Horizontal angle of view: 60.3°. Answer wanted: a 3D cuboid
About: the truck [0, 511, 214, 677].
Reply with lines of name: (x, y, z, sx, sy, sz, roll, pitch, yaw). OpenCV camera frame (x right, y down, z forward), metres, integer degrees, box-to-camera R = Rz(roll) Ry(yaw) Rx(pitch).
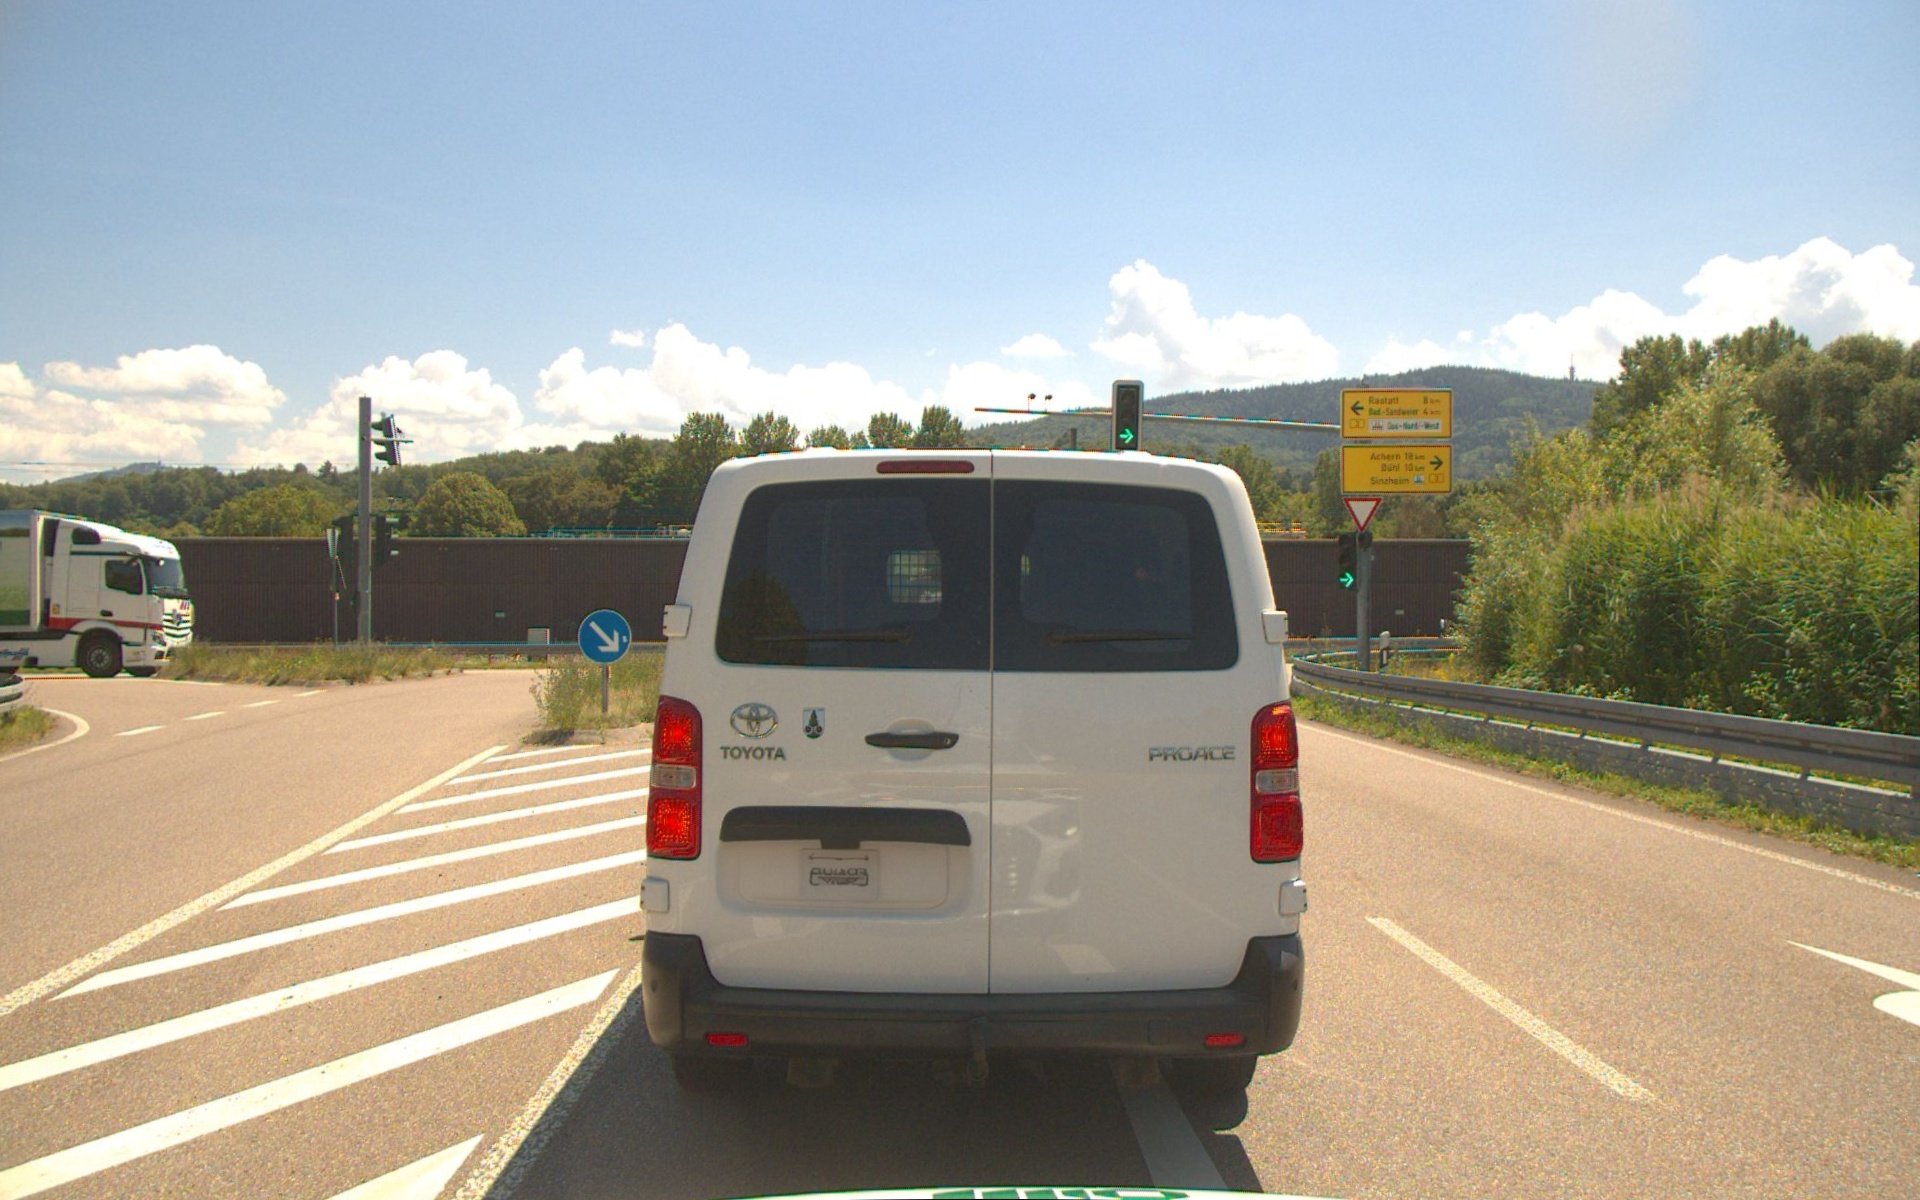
truck: (-22.383, -0.141, 41.773, 5.649, 4.024, 3.061, 0, -1, -3)

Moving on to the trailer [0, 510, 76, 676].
trailer: (-29.512, -0.180, 41.435, 12.877, 4.024, 3.060, 0, -1, -3)

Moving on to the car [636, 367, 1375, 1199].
car: (0.086, 0.479, 5.996, 1.778, 2.053, 3.999, 0, 0, -1)
